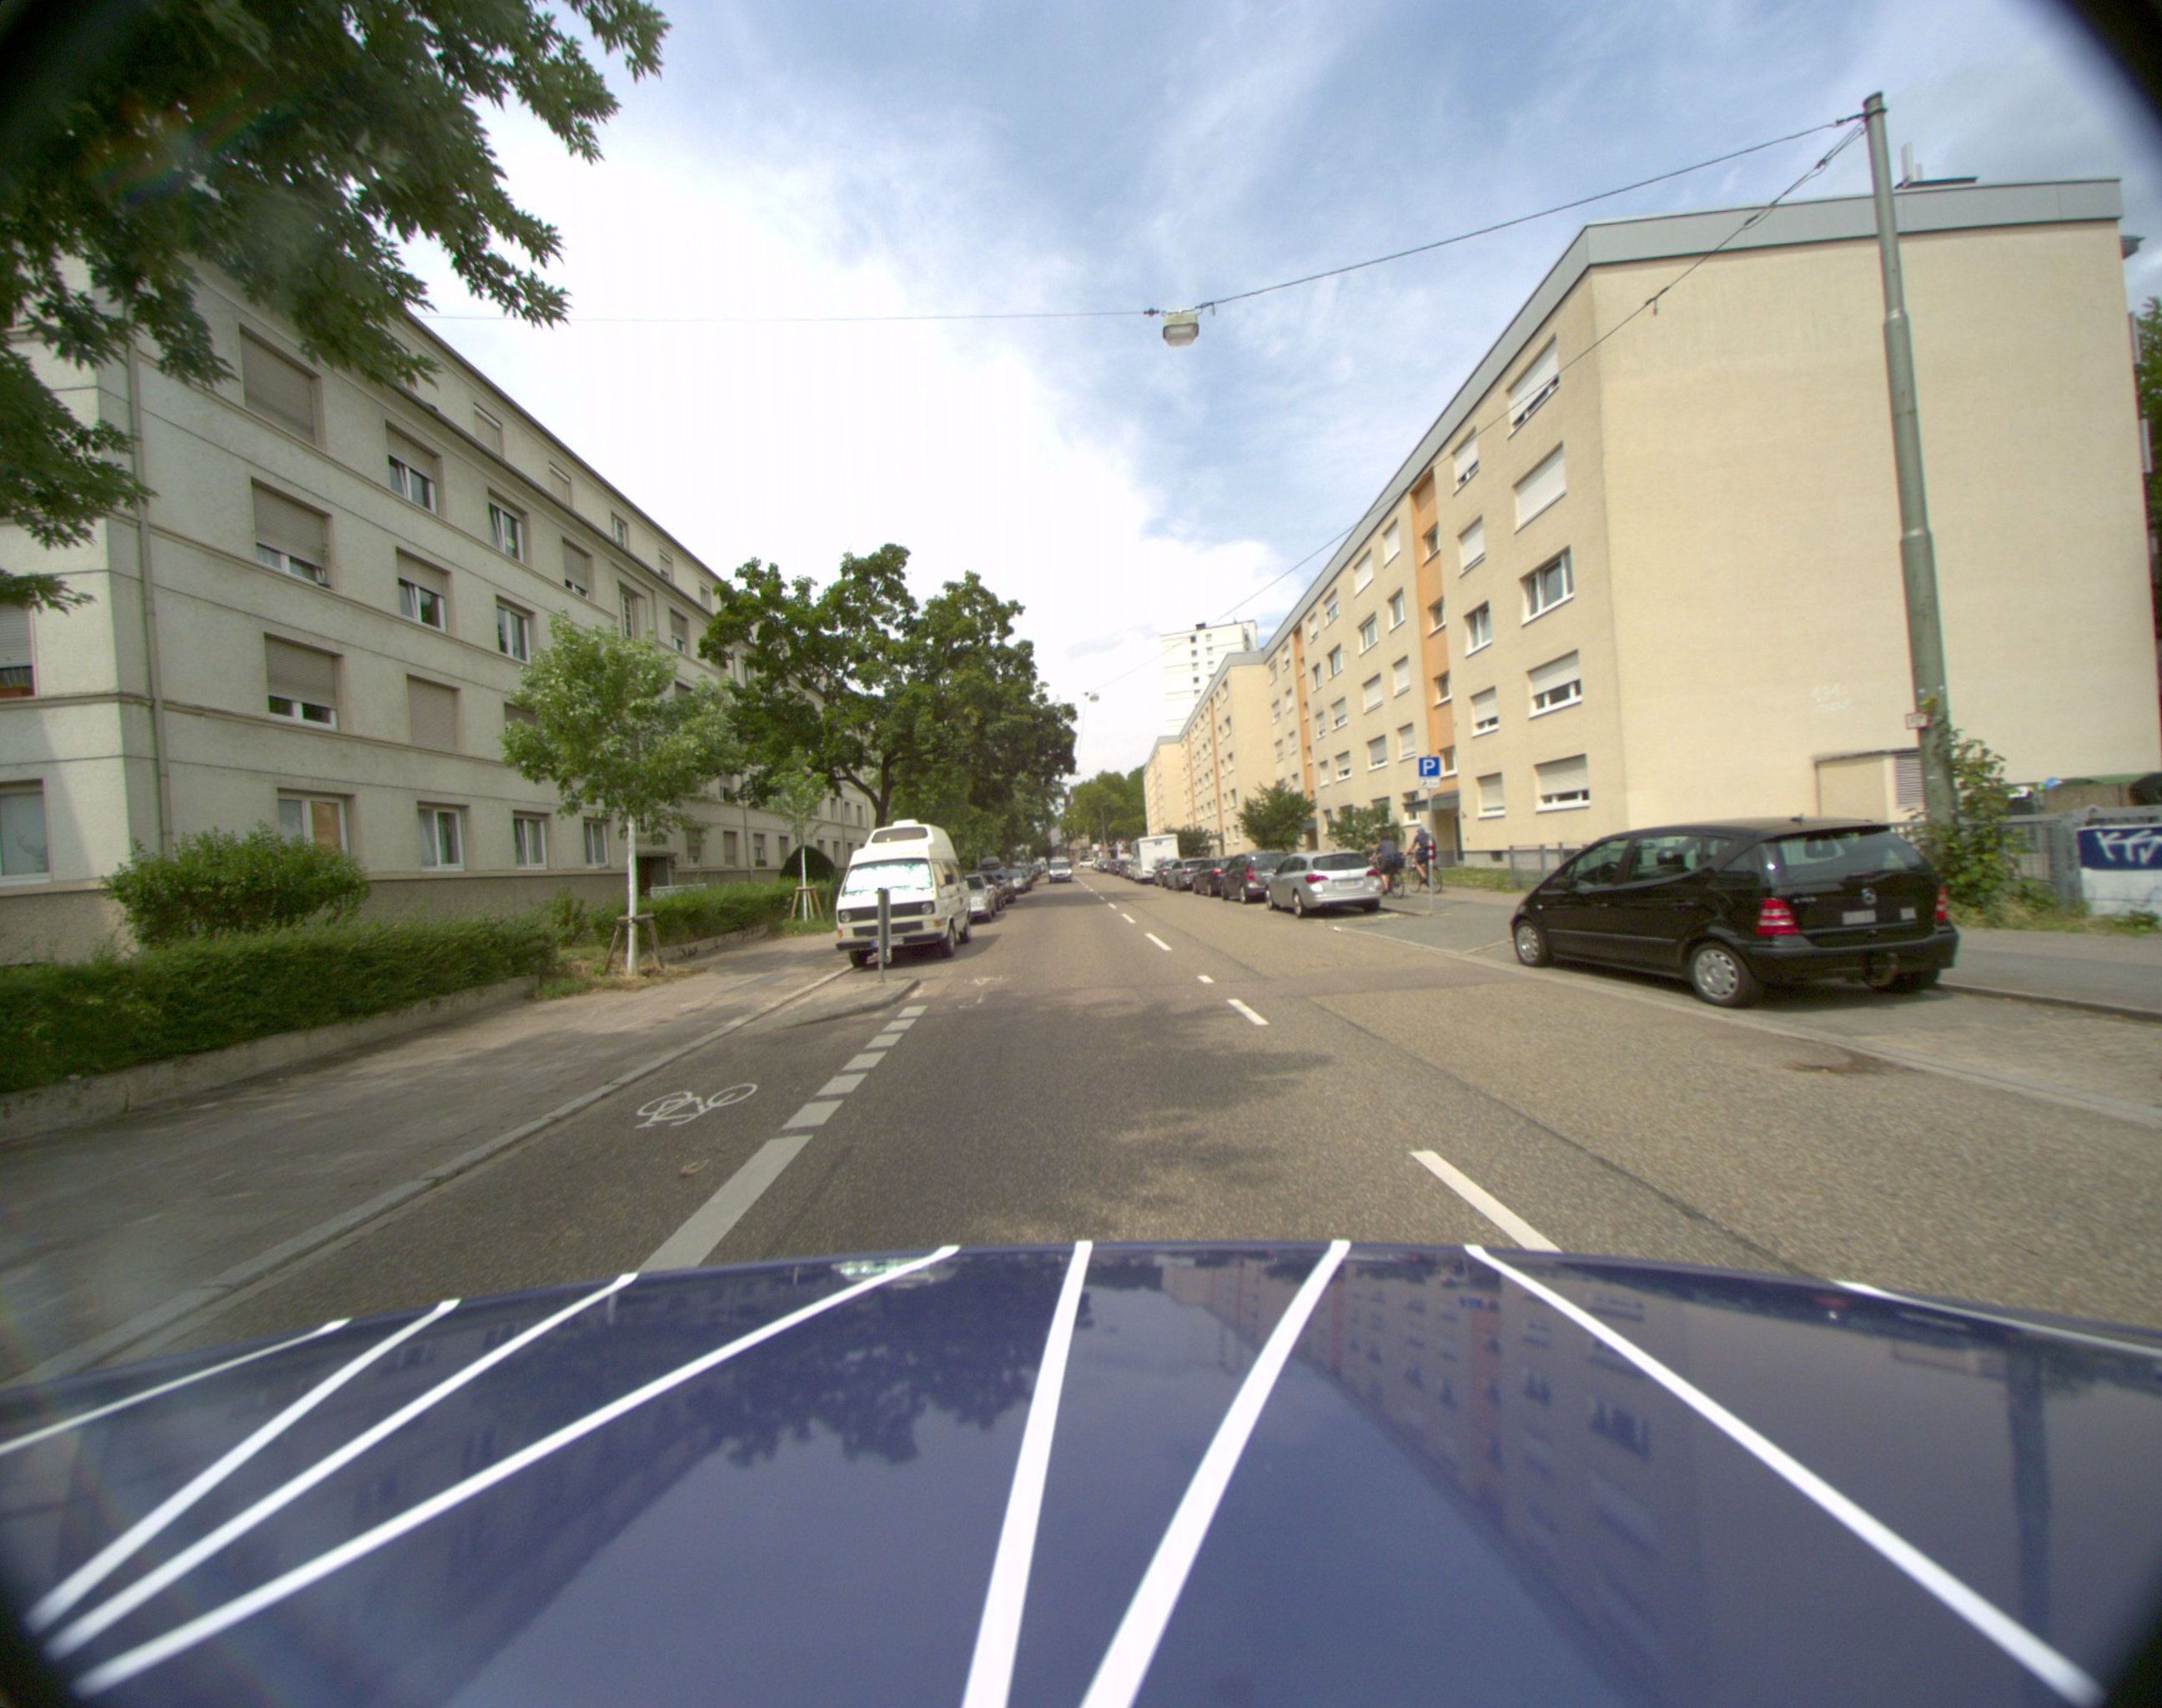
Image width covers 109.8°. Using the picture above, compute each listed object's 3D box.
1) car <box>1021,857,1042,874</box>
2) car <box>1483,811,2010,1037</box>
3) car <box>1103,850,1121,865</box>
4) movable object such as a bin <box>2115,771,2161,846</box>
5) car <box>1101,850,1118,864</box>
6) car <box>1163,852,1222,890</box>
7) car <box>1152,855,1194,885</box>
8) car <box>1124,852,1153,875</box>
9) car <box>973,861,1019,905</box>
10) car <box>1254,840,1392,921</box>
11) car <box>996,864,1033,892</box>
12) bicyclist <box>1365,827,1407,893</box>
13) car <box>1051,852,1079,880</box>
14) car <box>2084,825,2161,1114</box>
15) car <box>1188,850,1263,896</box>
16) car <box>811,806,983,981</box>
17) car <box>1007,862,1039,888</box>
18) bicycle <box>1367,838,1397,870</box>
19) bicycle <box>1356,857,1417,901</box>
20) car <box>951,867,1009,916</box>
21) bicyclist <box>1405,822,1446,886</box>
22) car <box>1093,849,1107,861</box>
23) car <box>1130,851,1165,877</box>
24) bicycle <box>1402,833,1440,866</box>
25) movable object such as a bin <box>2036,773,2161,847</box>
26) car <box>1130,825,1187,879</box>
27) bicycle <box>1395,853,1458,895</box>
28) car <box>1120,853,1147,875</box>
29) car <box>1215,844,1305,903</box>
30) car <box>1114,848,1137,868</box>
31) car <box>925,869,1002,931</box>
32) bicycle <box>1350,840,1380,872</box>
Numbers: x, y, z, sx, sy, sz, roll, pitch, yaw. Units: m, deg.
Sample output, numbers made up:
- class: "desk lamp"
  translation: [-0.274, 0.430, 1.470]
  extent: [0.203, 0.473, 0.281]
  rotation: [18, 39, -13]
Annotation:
- class: "car"
  translation: [-4.594, 1.073, 70.686]
  extent: [1.676, 1.369, 3.784]
  rotation: [-6, 0, -2]
- class: "car"
  translation: [6.035, 0.515, 7.666]
  extent: [1.626, 1.565, 3.999]
  rotation: [-4, 0, -2]
- class: "car"
  translation: [3.697, 0.368, 89.895]
  extent: [1.806, 1.625, 3.894]
  rotation: [-3, 1, -1]
- class: "movable object such as a bin"
  translation: [20.866, -0.872, 14.218]
  extent: [1.248, 1.404, 1.301]
  rotation: [-3, 1, -1]
- class: "car"
  translation: [3.549, 0.325, 94.878]
  extent: [1.806, 1.625, 3.894]
  rotation: [-3, 1, -1]
- class: "car"
  translation: [5.130, 0.736, 35.473]
  extent: [1.722, 1.498, 4.624]
  rotation: [-4, 0, -3]
- class: "car"
  translation: [4.949, 0.820, 41.284]
  extent: [1.617, 1.475, 4.057]
  rotation: [-3, 0, -2]
- class: "car"
  translation: [4.521, 0.722, 59.985]
  extent: [1.853, 1.623, 4.217]
  rotation: [-3, 1, -1]
- class: "car"
  translation: [-3.658, 1.214, 33.195]
  extent: [1.676, 1.666, 4.270]
  rotation: [-3, 0, -3]
- class: "car"
  translation: [5.666, 0.576, 18.452]
  extent: [1.791, 1.554, 4.551]
  rotation: [-6, 0, 1]
- class: "car"
  translation: [-3.758, 1.344, 43.255]
  extent: [1.676, 1.392, 3.785]
  rotation: [-3, 0, 0]
- class: "bicyclist"
  translation: [7.826, 0.146, 19.518]
  extent: [0.616, 1.599, 0.765]
  rotation: [-5, 1, -1]
- class: "car"
  translation: [-1.220, 0.924, 59.027]
  extent: [1.999, 2.002, 3.999]
  rotation: [-3, 1, -1]
- class: "car"
  translation: [6.275, 0.546, 2.077]
  extent: [1.691, 1.462, 4.048]
  rotation: [-5, 0, 2]
- class: "car"
  translation: [5.424, 0.662, 29.017]
  extent: [1.681, 1.495, 4.262]
  rotation: [-5, 0, -3]
- class: "car"
  translation: [-3.258, 0.613, 14.627]
  extent: [1.900, 2.587, 4.903]
  rotation: [-7, 1, -1]
- class: "car"
  translation: [-3.643, 1.303, 48.223]
  extent: [1.676, 1.445, 3.785]
  rotation: [-3, 0, 0]
- class: "bicycle"
  translation: [12.122, -0.024, 30.640]
  extent: [0.533, 1.200, 2.018]
  rotation: [-6, 0, 6]
- class: "bicycle"
  translation: [7.877, 0.612, 19.701]
  extent: [0.625, 0.996, 2.081]
  rotation: [-5, 1, -1]
- class: "car"
  translation: [-3.646, 1.307, 28.038]
  extent: [1.676, 1.445, 3.784]
  rotation: [-6, 0, -3]
- class: "bicyclist"
  translation: [9.076, -0.004, 20.041]
  extent: [0.616, 1.599, 0.765]
  rotation: [-5, 1, -1]
- class: "car"
  translation: [2.910, 0.128, 117.346]
  extent: [1.806, 1.625, 3.894]
  rotation: [-3, 1, -1]
- class: "car"
  translation: [4.747, 0.678, 54.802]
  extent: [1.999, 1.729, 3.835]
  rotation: [-3, 1, -1]
- class: "bicycle"
  translation: [13.407, -0.175, 29.999]
  extent: [0.534, 1.200, 2.018]
  rotation: [-6, 0, 1]
- class: "movable object such as a bin"
  translation: [20.961, -0.879, 15.527]
  extent: [1.248, 1.404, 1.301]
  rotation: [-3, 1, -1]
- class: "car"
  translation: [4.751, -0.095, 47.930]
  extent: [2.621, 3.040, 7.113]
  rotation: [-3, 0, -1]
- class: "bicycle"
  translation: [9.120, 0.503, 20.168]
  extent: [0.625, 0.996, 2.081]
  rotation: [-5, 1, -1]
- class: "car"
  translation: [4.487, 0.838, 65.539]
  extent: [1.845, 1.670, 4.217]
  rotation: [-3, 1, -3]
- class: "car"
  translation: [5.595, 0.570, 24.225]
  extent: [1.722, 1.615, 3.838]
  rotation: [-4, 0, -3]
- class: "car"
  translation: [4.179, 0.382, 71.998]
  extent: [1.723, 1.787, 3.894]
  rotation: [-3, 1, -1]
- class: "car"
  translation: [-3.425, 1.294, 22.944]
  extent: [1.676, 1.442, 4.643]
  rotation: [-6, 0, -3]
- class: "bicycle"
  translation: [11.479, 0.059, 30.739]
  extent: [0.533, 1.200, 2.018]
  rotation: [-7, 0, 6]
